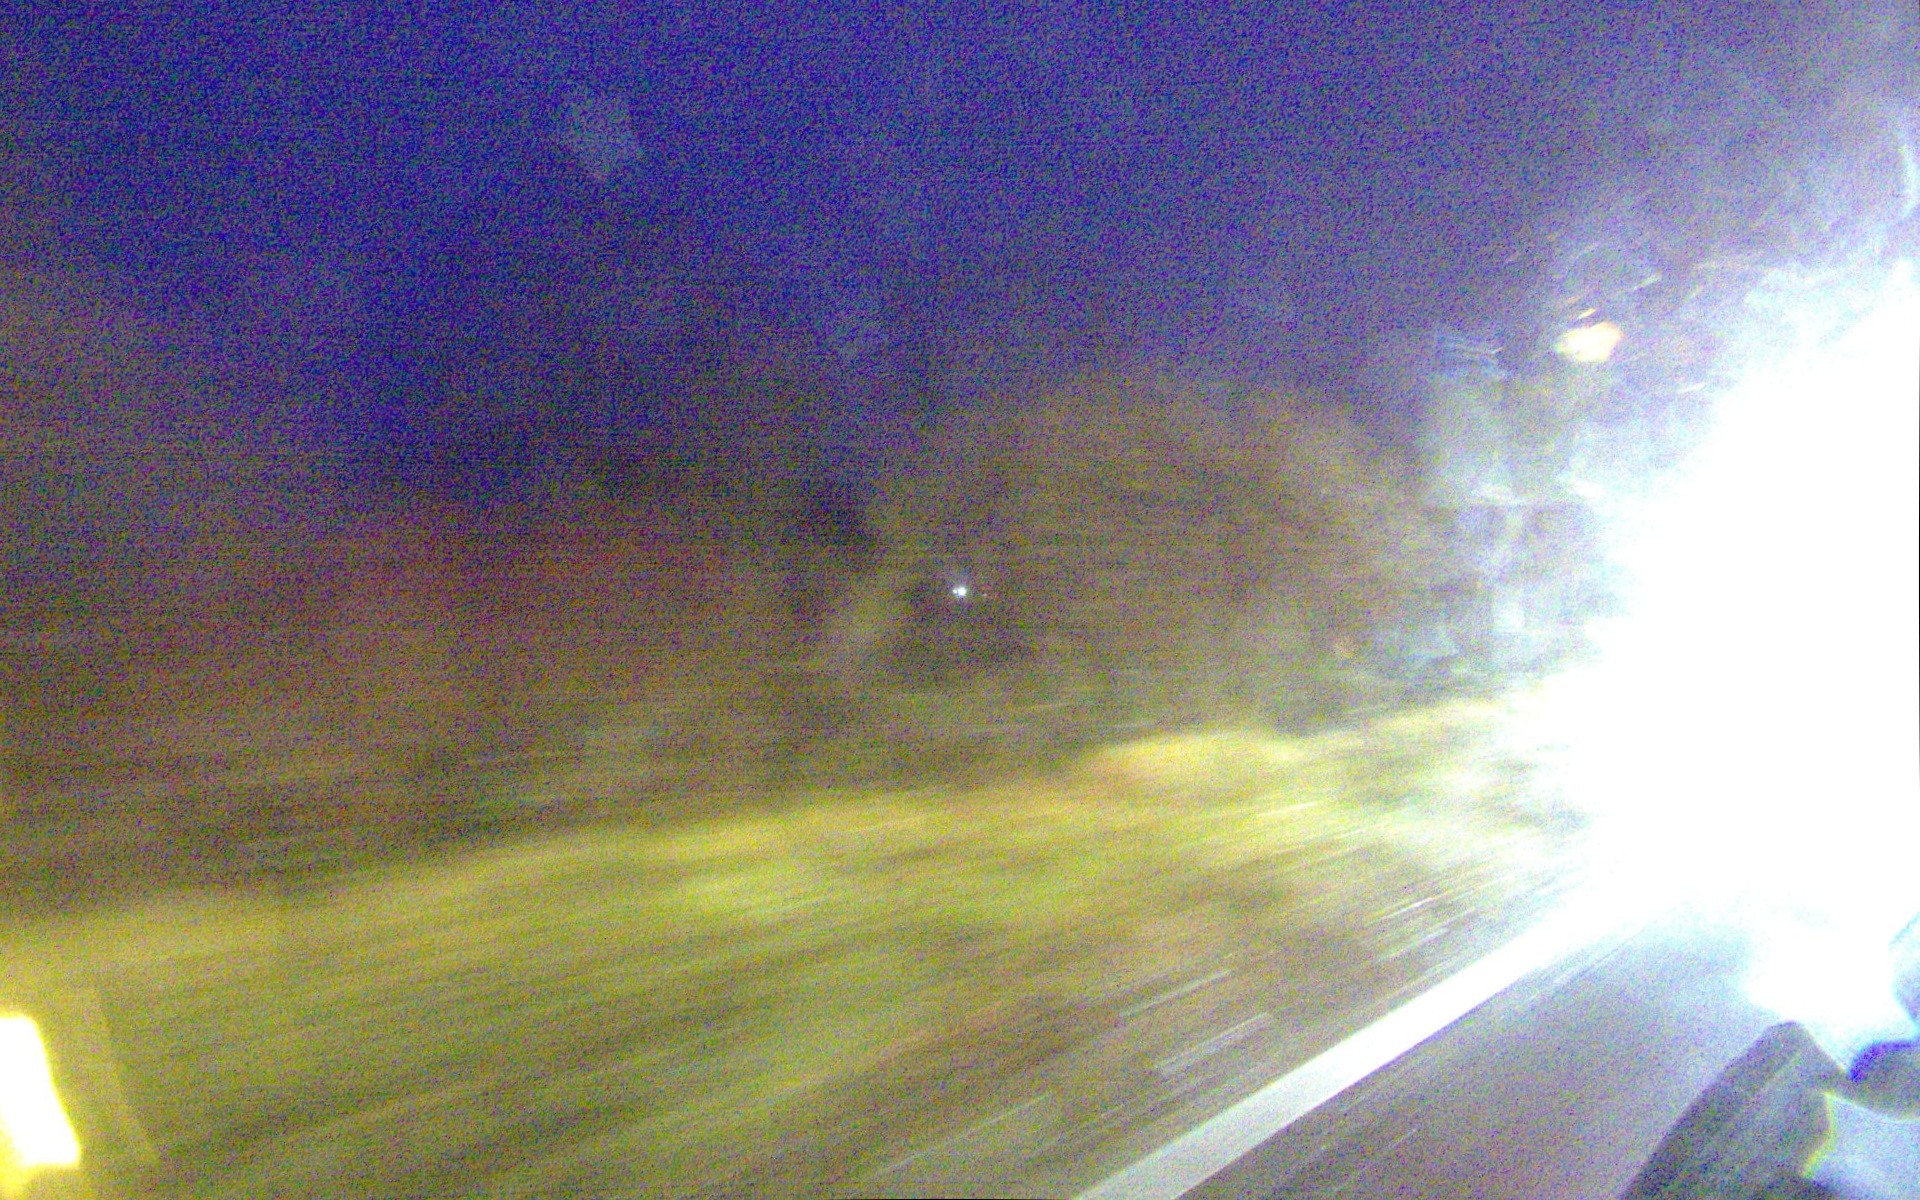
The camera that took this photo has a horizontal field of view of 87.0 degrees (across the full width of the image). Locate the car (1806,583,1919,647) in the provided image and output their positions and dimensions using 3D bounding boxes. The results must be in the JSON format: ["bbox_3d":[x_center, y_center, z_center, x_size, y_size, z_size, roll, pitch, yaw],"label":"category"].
[{"bbox_3d":[25.326,0.351,27.466,1.659,1.551,3.980,-2,0,7],"label":"car"}]
